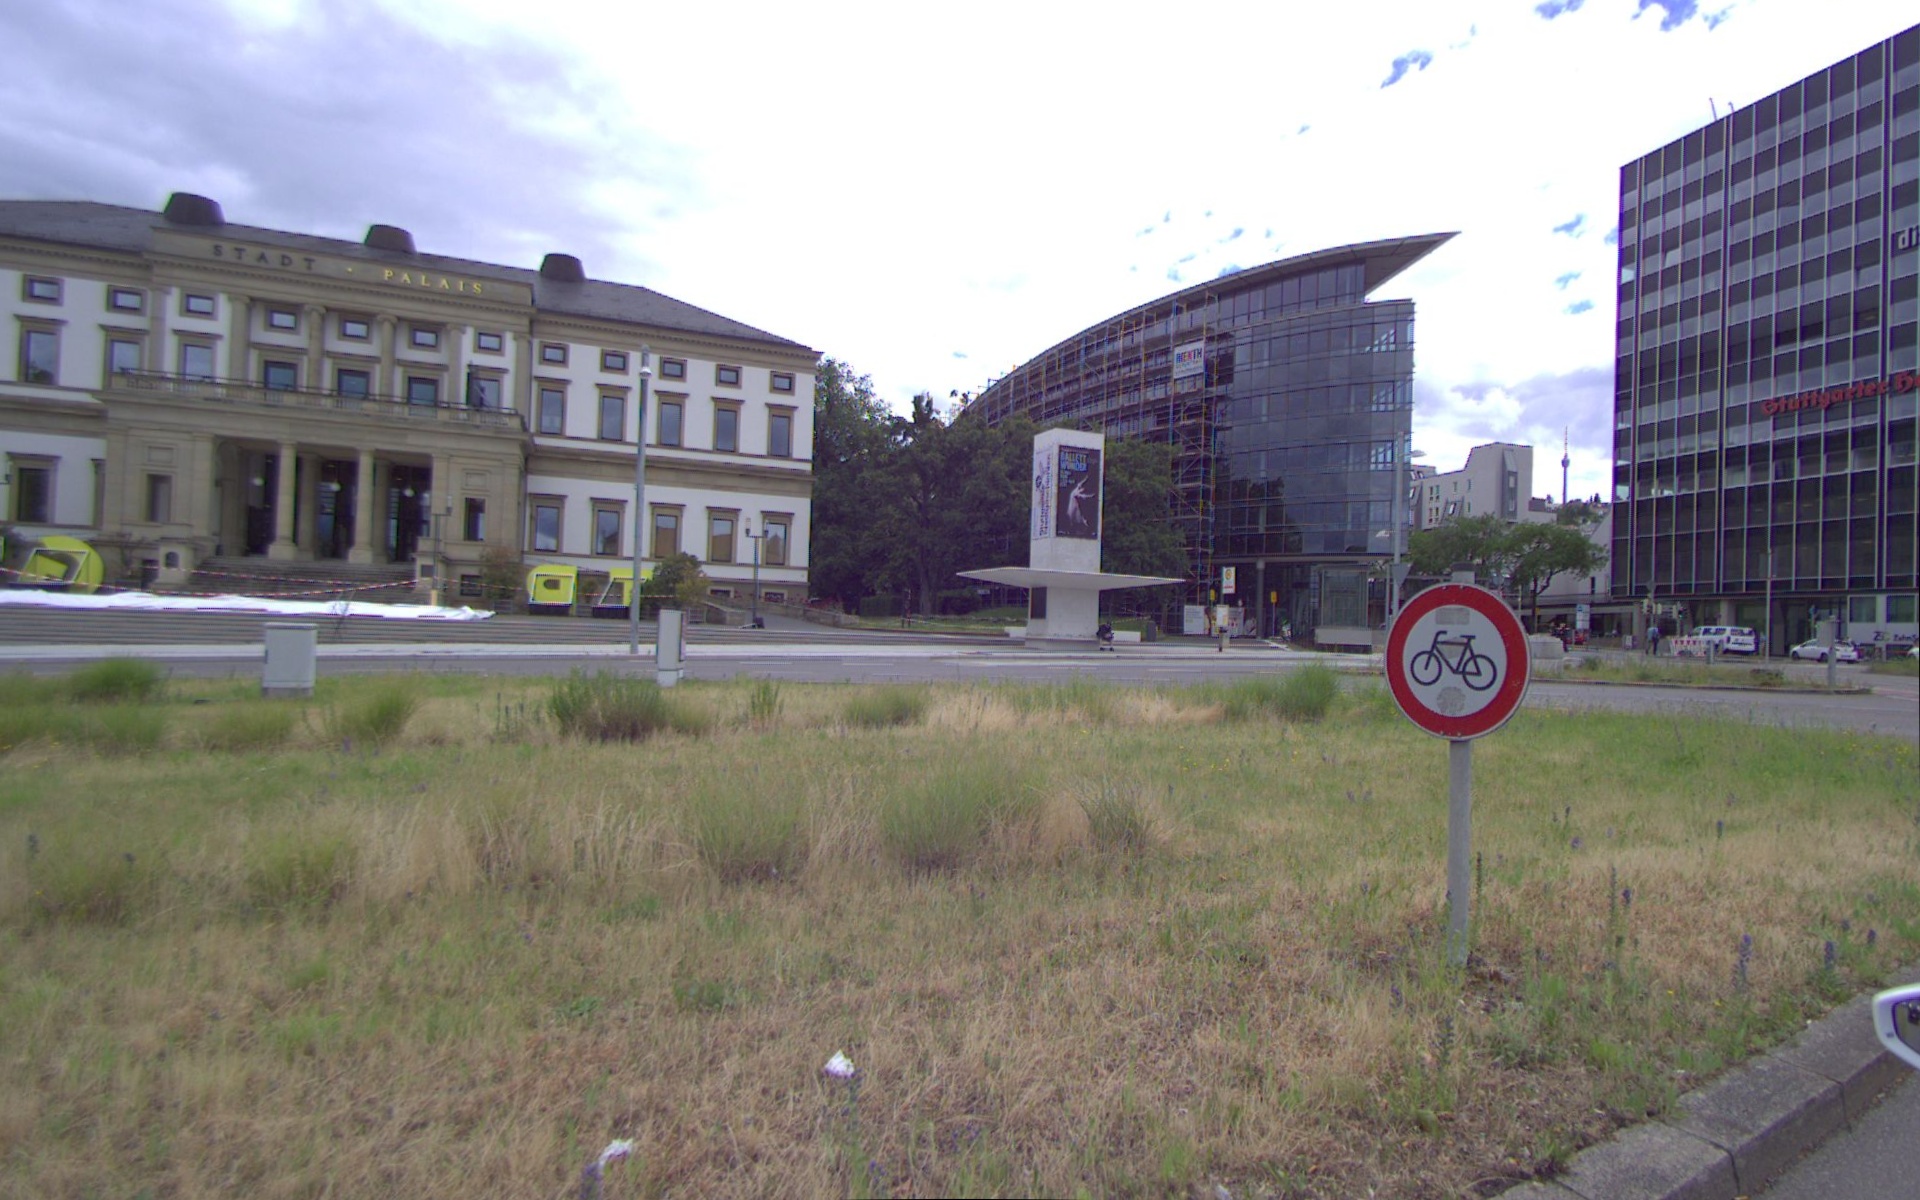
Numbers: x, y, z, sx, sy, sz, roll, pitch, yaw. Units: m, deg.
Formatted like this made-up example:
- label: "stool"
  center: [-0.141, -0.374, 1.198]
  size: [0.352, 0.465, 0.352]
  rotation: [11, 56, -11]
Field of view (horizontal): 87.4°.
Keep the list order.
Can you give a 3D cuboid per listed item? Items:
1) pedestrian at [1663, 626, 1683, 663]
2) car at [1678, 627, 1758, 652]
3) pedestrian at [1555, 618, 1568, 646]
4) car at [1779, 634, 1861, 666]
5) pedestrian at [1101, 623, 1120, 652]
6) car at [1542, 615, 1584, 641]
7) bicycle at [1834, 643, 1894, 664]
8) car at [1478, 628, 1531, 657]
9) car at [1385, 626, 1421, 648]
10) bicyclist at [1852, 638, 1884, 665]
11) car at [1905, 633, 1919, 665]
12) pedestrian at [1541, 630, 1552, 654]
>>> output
- label: "pedestrian"
  center: [47.218, 2.908, 66.513]
  size: [0.944, 2.393, 1.039]
  rotation: [1, 0, 30]
- label: "car"
  center: [51.879, 2.672, 68.853]
  size: [2.207, 1.522, 4.613]
  rotation: [1, 0, 3]
- label: "pedestrian"
  center: [36.136, 1.907, 60.313]
  size: [0.612, 1.614, 0.590]
  rotation: [2, 0, 29]
- label: "car"
  center: [54.662, 3.138, 63.915]
  size: [1.862, 1.632, 4.001]
  rotation: [-3, 1, 3]
- label: "pedestrian"
  center: [5.872, 1.460, 39.101]
  size: [0.551, 1.095, 0.474]
  rotation: [1, 0, -20]
- label: "car"
  center: [50.535, 2.340, 84.210]
  size: [1.960, 2.040, 4.002]
  rotation: [1, 0, 15]
- label: "bicycle"
  center: [59.863, 3.527, 66.569]
  size: [1.226, 1.184, 3.314]
  rotation: [1, 0, 6]
- label: "car"
  center: [36.927, 2.830, 68.186]
  size: [1.766, 1.818, 3.458]
  rotation: [1, -1, 1]
- label: "car"
  center: [40.960, 3.396, 92.953]
  size: [1.959, 1.840, 4.002]
  rotation: [1, -1, 7]
- label: "bicyclist"
  center: [59.821, 3.399, 66.151]
  size: [1.226, 1.663, 0.917]
  rotation: [1, 0, 6]
- label: "car"
  center: [48.152, 2.445, 48.879]
  size: [1.784, 1.516, 3.905]
  rotation: [1, 0, 21]
- label: "pedestrian"
  center: [35.579, 2.564, 60.891]
  size: [0.528, 1.414, 0.654]
  rotation: [2, 0, 29]
